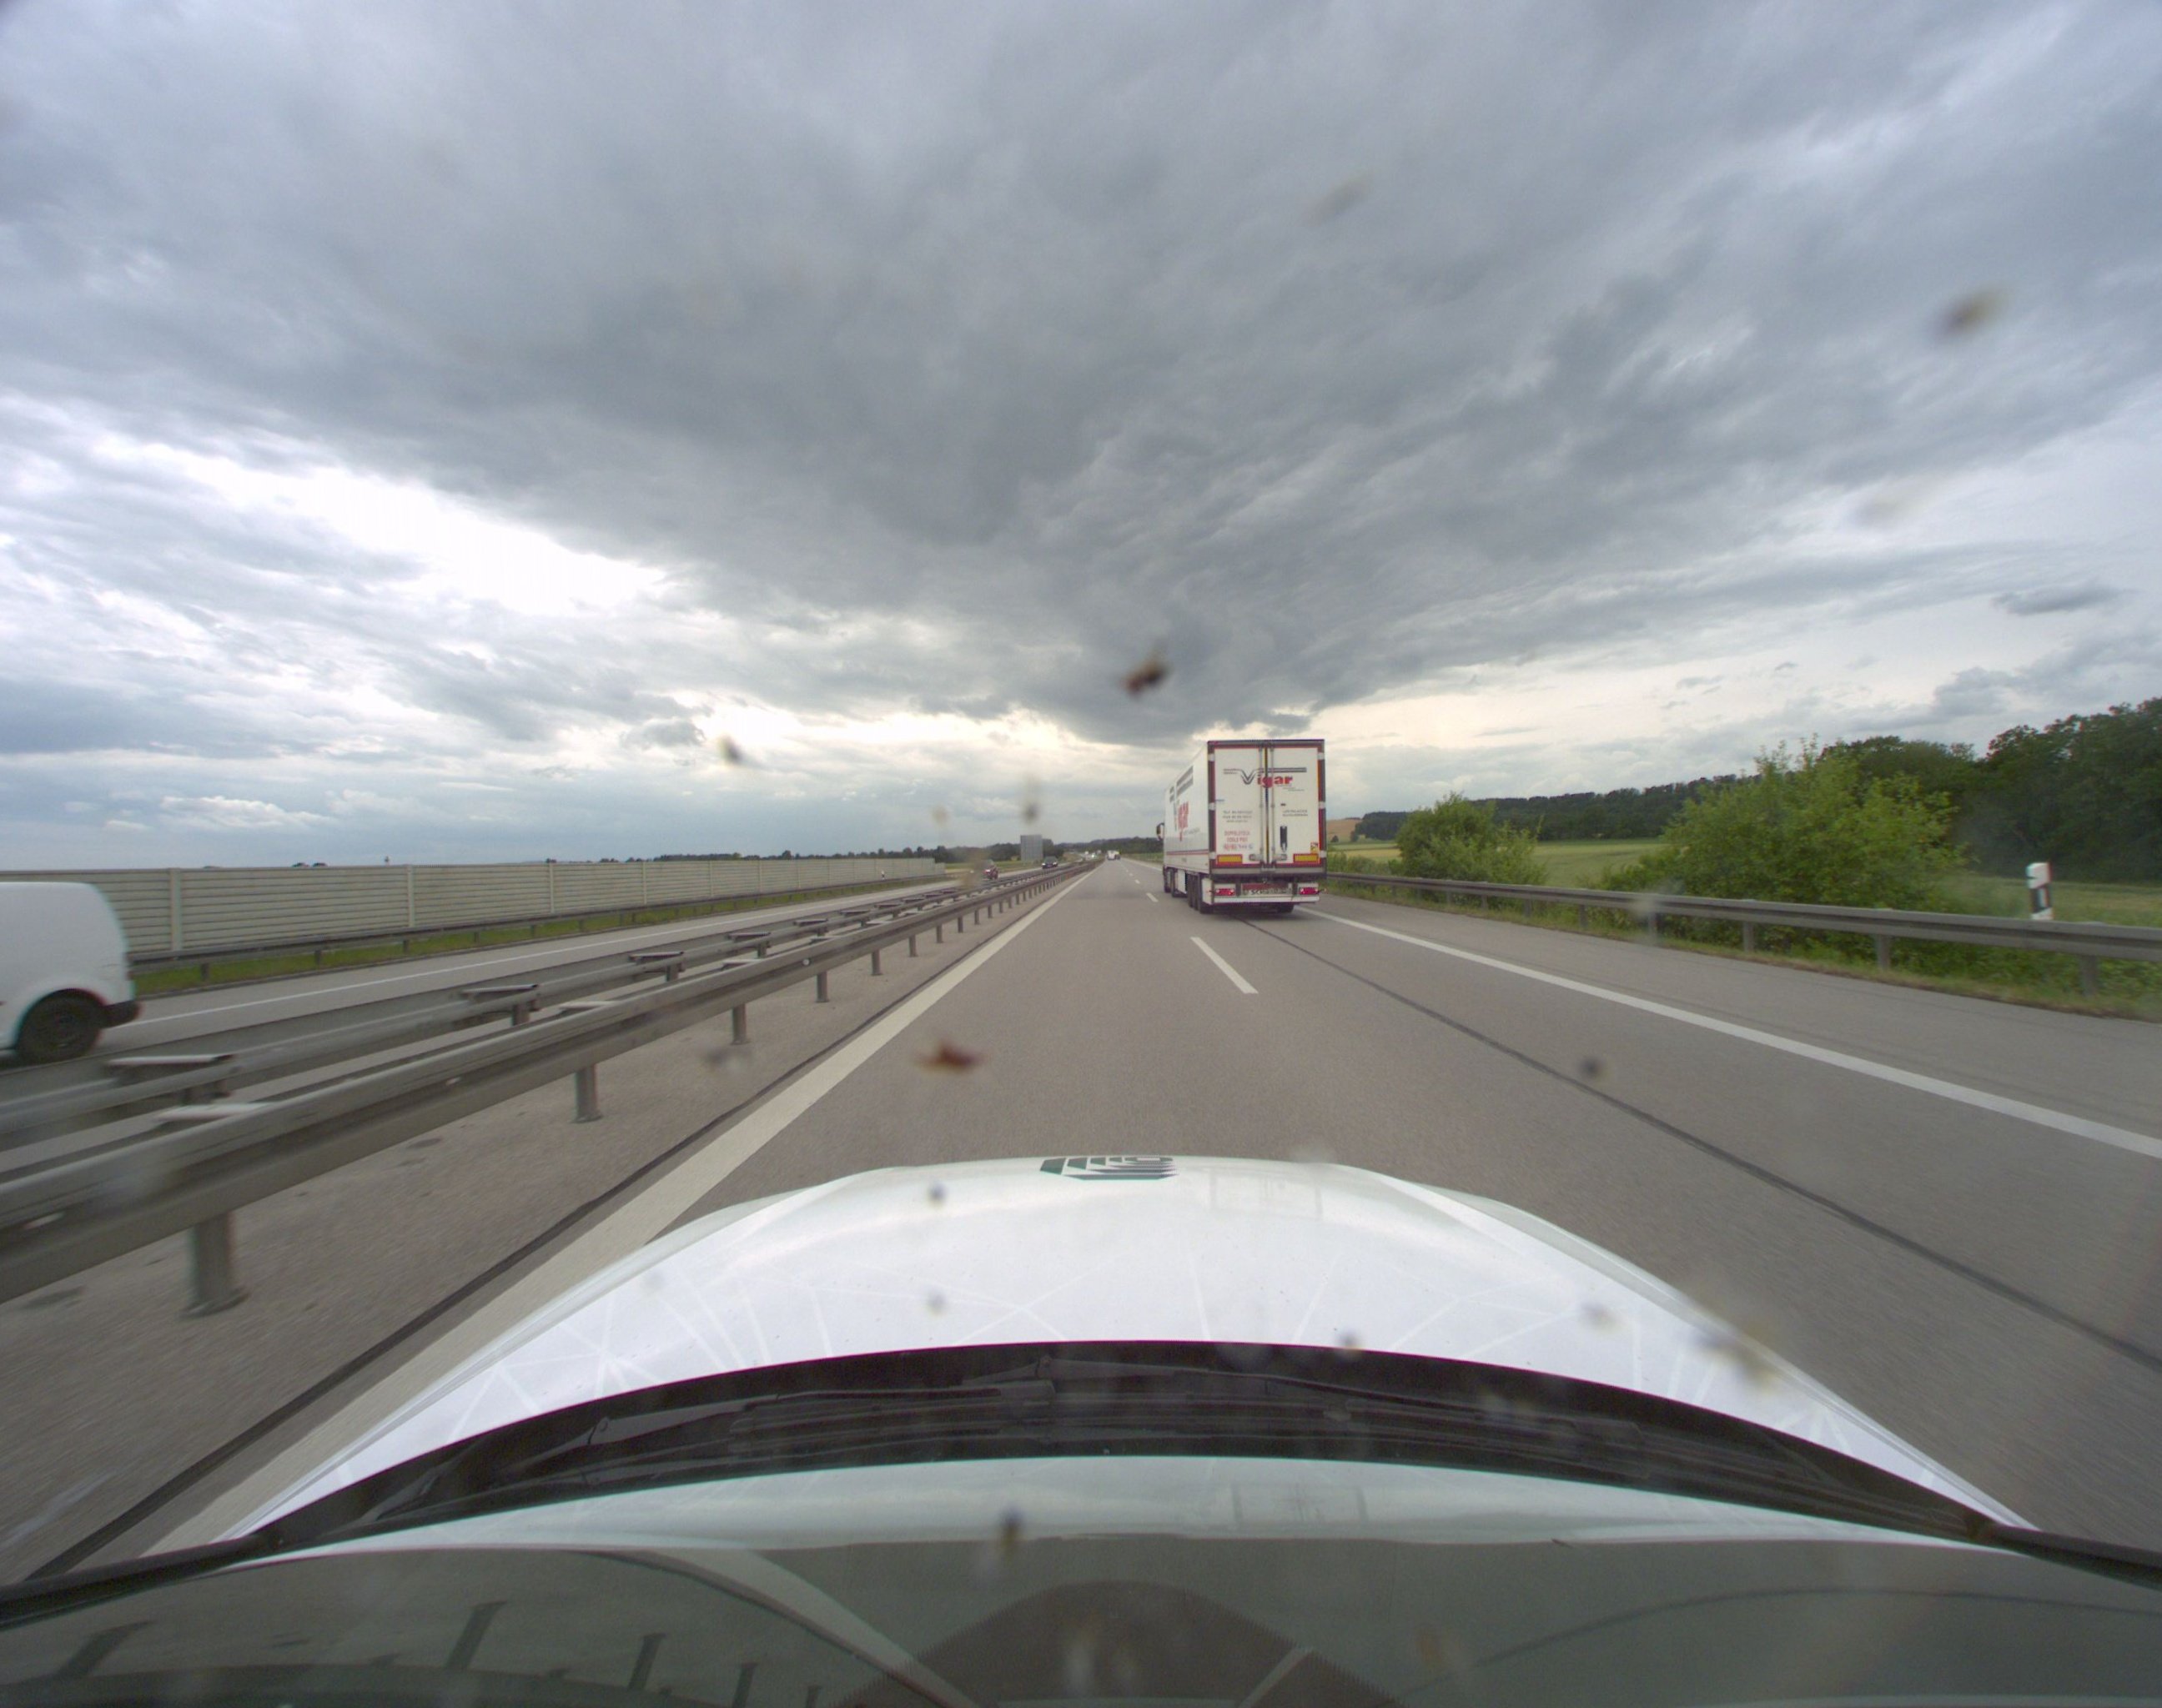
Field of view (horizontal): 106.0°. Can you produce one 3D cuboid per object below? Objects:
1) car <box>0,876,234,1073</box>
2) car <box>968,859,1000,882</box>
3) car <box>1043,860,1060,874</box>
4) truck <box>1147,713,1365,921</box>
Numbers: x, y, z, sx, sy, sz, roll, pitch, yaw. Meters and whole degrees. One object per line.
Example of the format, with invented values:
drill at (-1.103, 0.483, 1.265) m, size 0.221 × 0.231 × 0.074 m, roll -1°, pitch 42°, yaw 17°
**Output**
car at (-10.807, 1.208, 6.953) m, size 1.749 × 1.742 × 4.916 m, roll -5°, pitch 0°, yaw 2°
car at (-7.983, 1.325, 67.242) m, size 1.888 × 1.631 × 4.176 m, roll -5°, pitch 0°, yaw 2°
car at (-3.968, 1.772, 109.390) m, size 1.888 × 1.631 × 4.176 m, roll -5°, pitch 0°, yaw 2°
truck at (4.496, -0.848, 25.990) m, size 3.659 × 4.412 × 16.345 m, roll -2°, pitch 0°, yaw 1°
